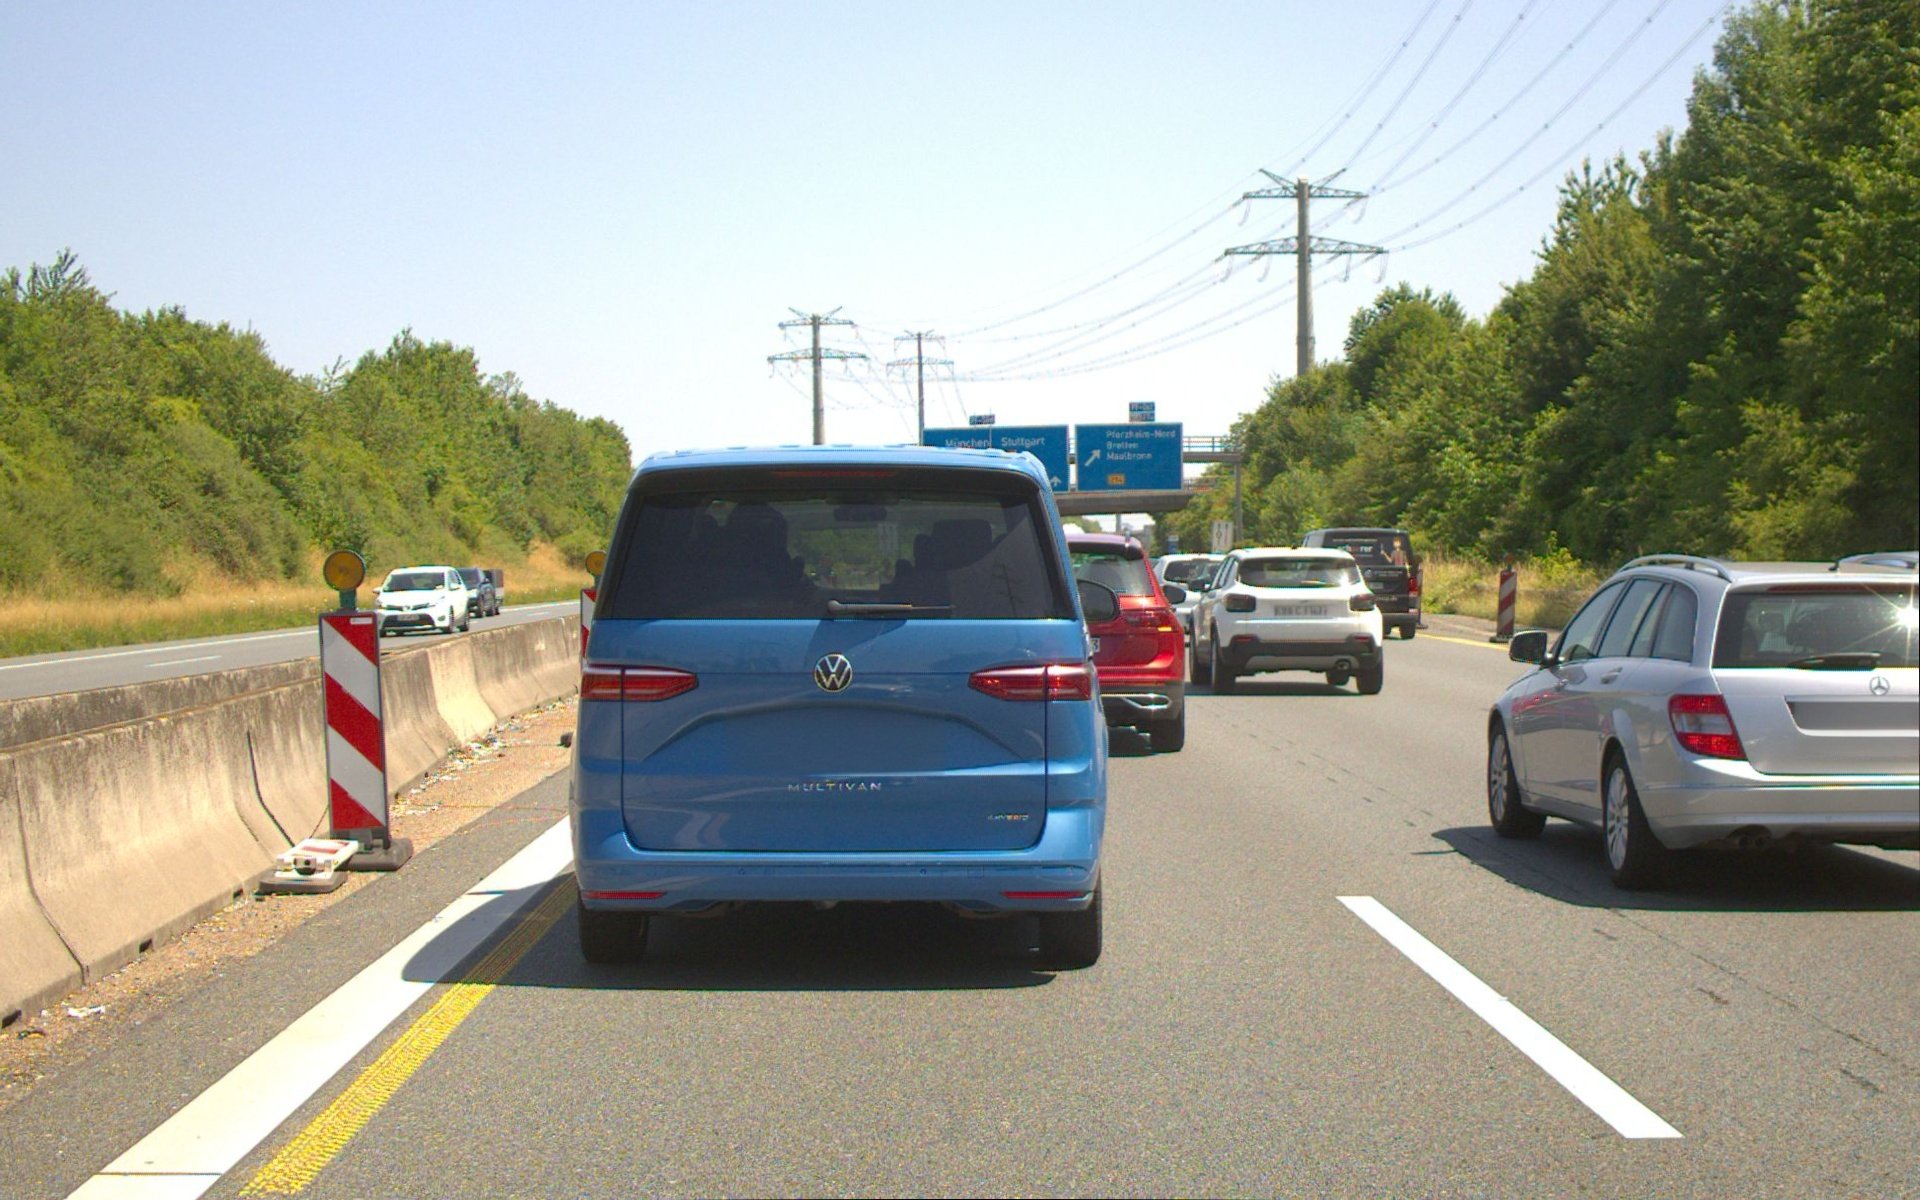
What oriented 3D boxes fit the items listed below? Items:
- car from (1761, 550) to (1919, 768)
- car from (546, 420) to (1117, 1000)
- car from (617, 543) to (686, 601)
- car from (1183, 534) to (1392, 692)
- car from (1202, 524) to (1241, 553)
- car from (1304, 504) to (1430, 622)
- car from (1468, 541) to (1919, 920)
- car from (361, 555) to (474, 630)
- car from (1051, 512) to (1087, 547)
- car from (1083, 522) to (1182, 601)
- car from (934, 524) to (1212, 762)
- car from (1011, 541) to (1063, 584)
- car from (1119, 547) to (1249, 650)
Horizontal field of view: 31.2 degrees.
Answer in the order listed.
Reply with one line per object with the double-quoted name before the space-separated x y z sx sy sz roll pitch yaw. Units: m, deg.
"car" 7.066 0.380 24.638 1.701 1.443 3.788 1 1 -1
"car" -0.480 0.342 13.641 1.874 1.905 4.360 1 1 -1
"car" -9.192 -0.845 102.621 1.773 1.693 4.171 1 1 -1
"car" 3.493 0.106 37.340 1.797 1.588 4.227 1 1 -1
"car" 15.694 -3.699 206.199 1.874 1.665 4.360 1 1 -1
"car" 7.217 -0.667 61.268 1.798 2.007 4.227 1 1 1
"car" 3.641 0.504 16.036 1.770 1.512 4.360 1 1 -1
"car" -12.678 -0.204 80.573 1.993 1.656 4.230 -1 1 -1
"car" 7.738 -5.019 244.225 2.377 2.420 4.227 1 1 -1
"car" 3.576 -0.803 71.952 1.797 1.588 4.227 1 1 -1
"car" 0.787 0.280 26.569 1.874 1.665 4.360 1 1 -1
"car" 2.901 -1.420 130.418 1.797 1.588 4.227 1 1 -1
"car" 3.620 -0.051 56.175 1.797 1.588 4.227 1 1 -1
